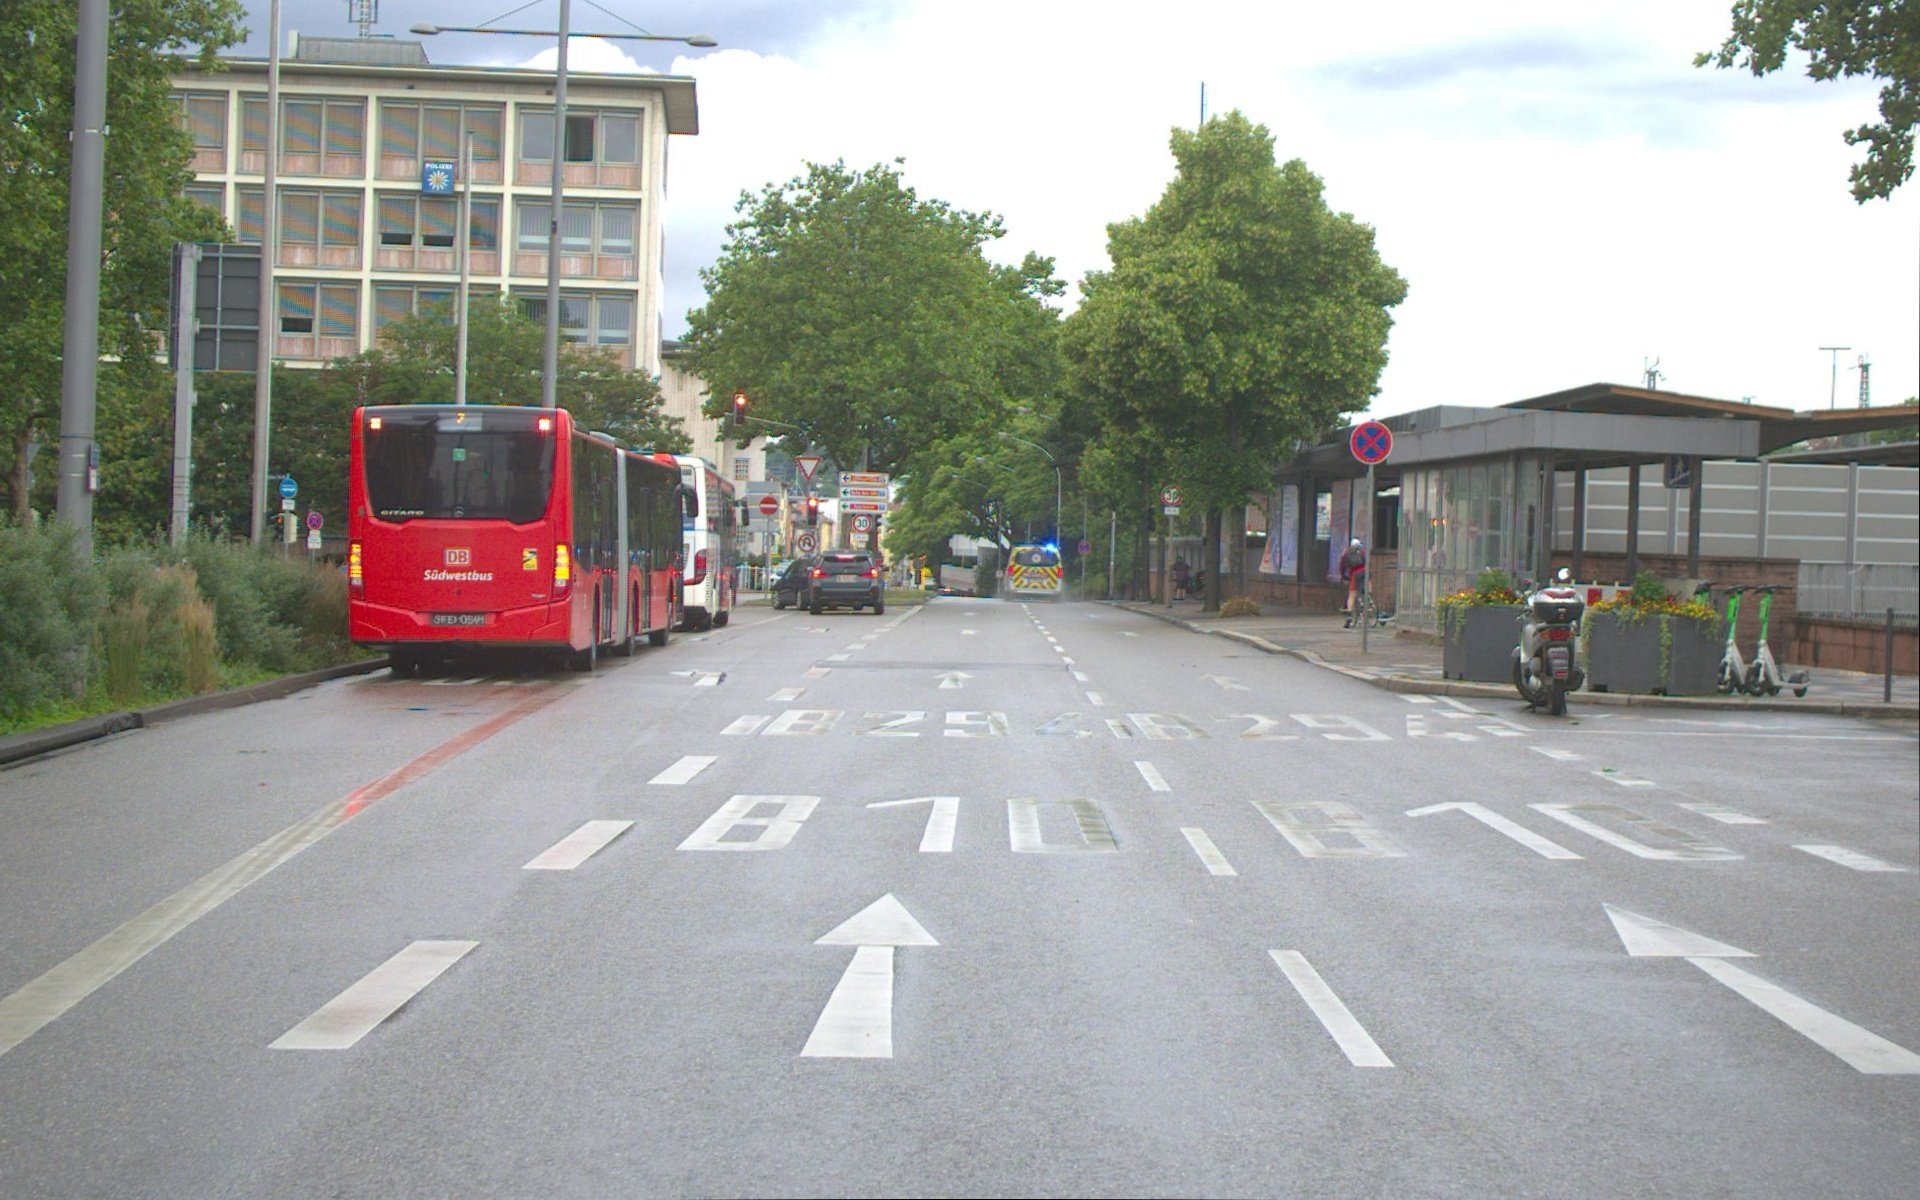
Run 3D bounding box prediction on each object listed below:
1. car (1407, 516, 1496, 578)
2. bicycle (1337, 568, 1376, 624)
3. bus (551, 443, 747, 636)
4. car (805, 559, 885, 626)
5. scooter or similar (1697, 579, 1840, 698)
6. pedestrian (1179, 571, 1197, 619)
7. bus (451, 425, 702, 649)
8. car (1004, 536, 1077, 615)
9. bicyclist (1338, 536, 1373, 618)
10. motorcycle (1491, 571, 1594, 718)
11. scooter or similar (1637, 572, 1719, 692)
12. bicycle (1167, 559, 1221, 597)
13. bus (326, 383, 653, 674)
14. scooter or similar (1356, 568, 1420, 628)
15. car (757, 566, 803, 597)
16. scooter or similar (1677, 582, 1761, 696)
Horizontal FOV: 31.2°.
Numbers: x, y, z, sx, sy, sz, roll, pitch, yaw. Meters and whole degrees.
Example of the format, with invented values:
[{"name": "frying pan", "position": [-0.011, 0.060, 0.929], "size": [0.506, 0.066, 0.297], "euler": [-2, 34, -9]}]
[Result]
[{"name": "car", "position": [15.262, -1.647, 106.931], "size": [1.993, 1.865, 4.598], "euler": [0, 1, -1]}, {"name": "bicycle", "position": [7.413, -0.079, 64.319], "size": [0.446, 1.013, 1.678], "euler": [-2, 1, -2]}, {"name": "bus", "position": [-5.955, -1.164, 67.799], "size": [2.955, 3.428, 12.560], "euler": [1, 1, -1]}, {"name": "car", "position": [-2.880, -0.198, 86.418], "size": [1.964, 1.634, 4.359], "euler": [0, 0, -2]}, {"name": "scooter or similar", "position": [8.513, 0.392, 36.256], "size": [1.065, 1.151, 1.667], "euler": [3, 1, 1]}, {"name": "pedestrian", "position": [7.442, -0.168, 112.205], "size": [0.457, 1.563, 0.392], "euler": [0, 0, 32]}, {"name": "bus", "position": [-5.719, -0.950, 52.696], "size": [2.752, 3.122, 8.843], "euler": [0, 1, 1]}, {"name": "car", "position": [2.727, -0.869, 117.781], "size": [2.264, 2.647, 4.000], "euler": [0, 1, -2]}, {"name": "bicyclist", "position": [7.392, -0.432, 64.281], "size": [0.533, 1.533, 0.694], "euler": [-1, 0, -3]}, {"name": "motorcycle", "position": [5.616, 0.408, 33.239], "size": [0.643, 1.347, 2.109], "euler": [1, 1, 1]}, {"name": "scooter or similar", "position": [7.538, 0.323, 36.065], "size": [0.413, 1.151, 1.261], "euler": [4, 5, 31]}, {"name": "bicycle", "position": [7.656, -0.714, 112.587], "size": [1.723, 1.244, 0.485], "euler": [0, 0, 32]}, {"name": "bus", "position": [-5.697, -0.874, 43.334], "size": [2.809, 3.234, 9.914], "euler": [0, 1, 0]}, {"name": "scooter or similar", "position": [8.244, -0.043, 66.299], "size": [0.492, 1.149, 1.716], "euler": [1, 0, -20]}, {"name": "car", "position": [-8.173, -0.832, 156.631], "size": [1.691, 1.293, 4.092], "euler": [2, 0, 2]}, {"name": "scooter or similar", "position": [7.915, 0.407, 35.834], "size": [0.413, 1.151, 1.261], "euler": [4, 1, 31]}]
